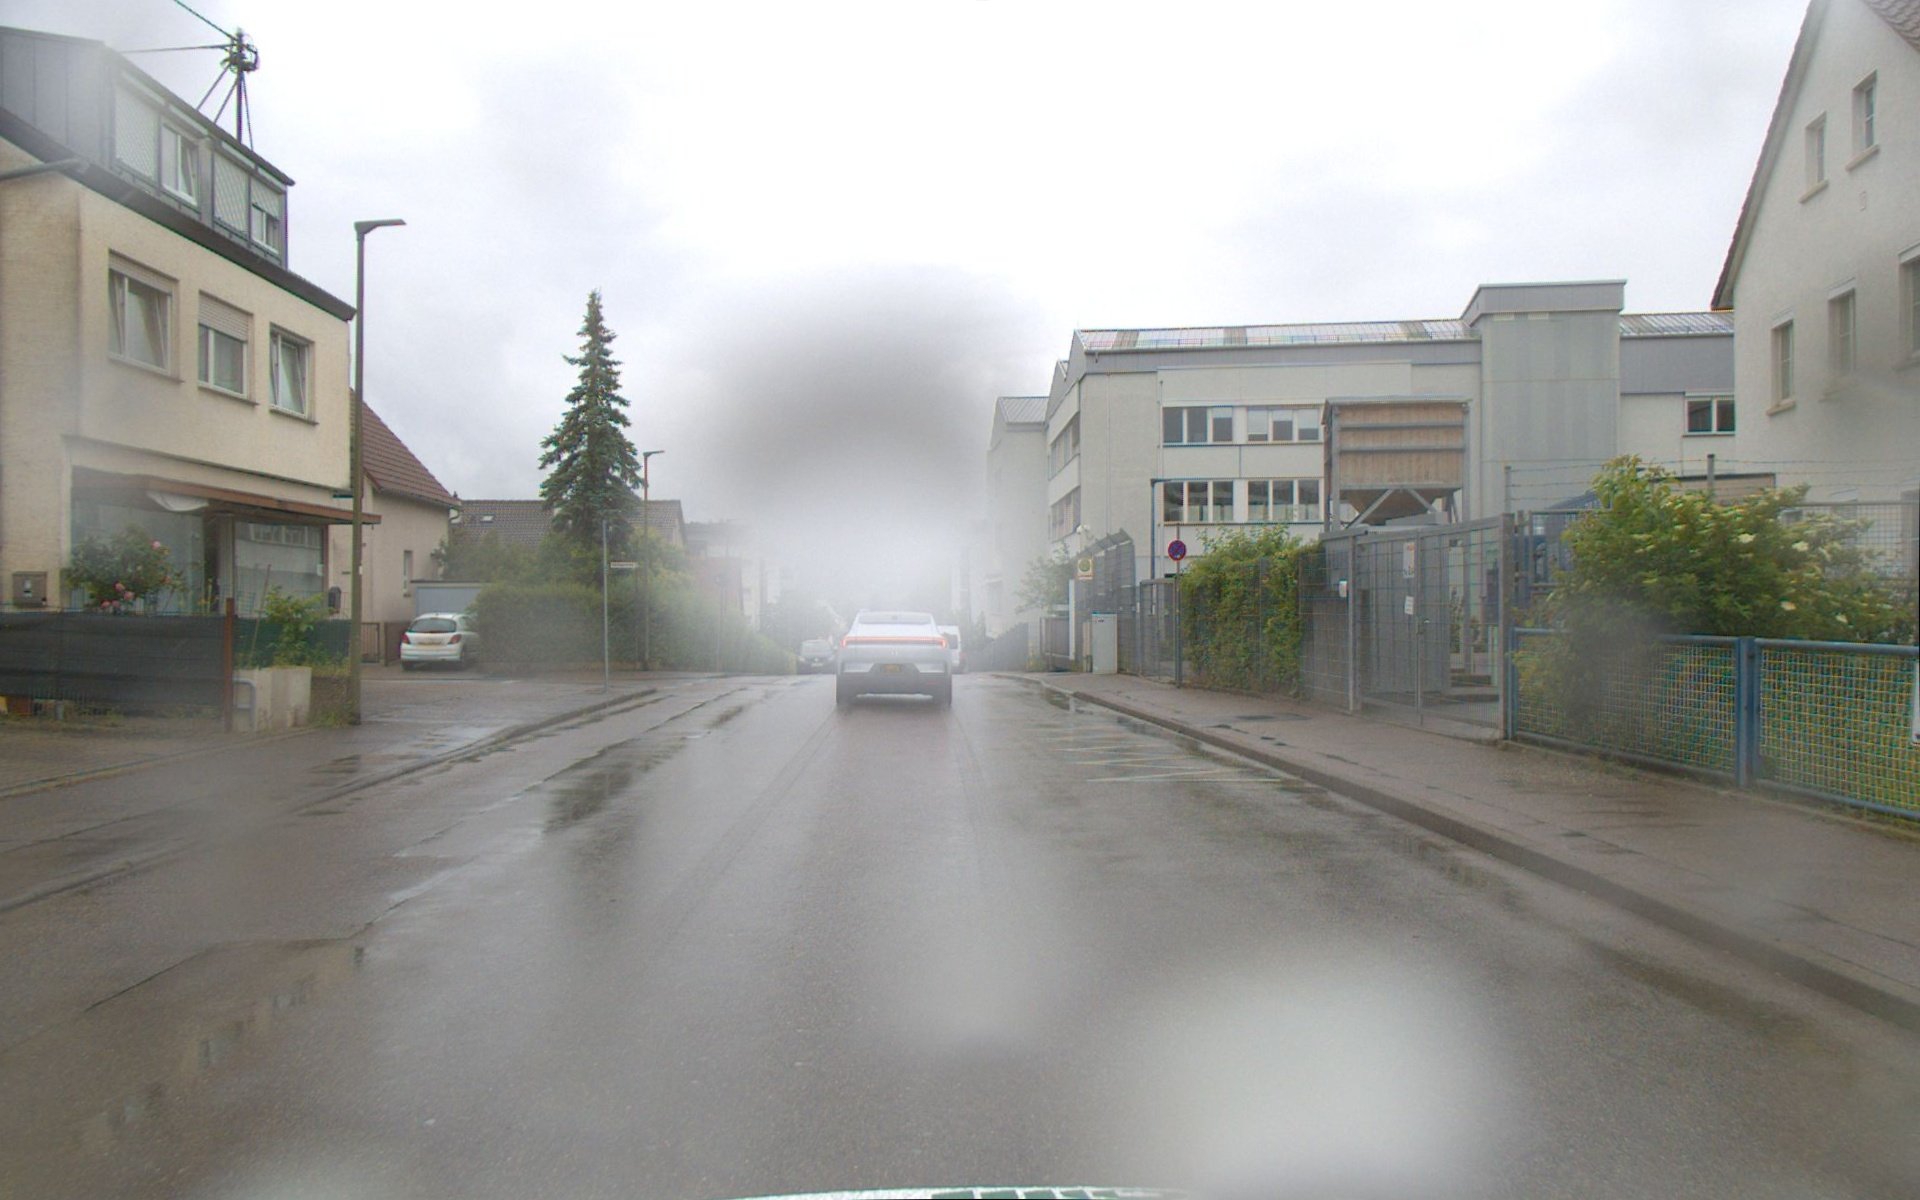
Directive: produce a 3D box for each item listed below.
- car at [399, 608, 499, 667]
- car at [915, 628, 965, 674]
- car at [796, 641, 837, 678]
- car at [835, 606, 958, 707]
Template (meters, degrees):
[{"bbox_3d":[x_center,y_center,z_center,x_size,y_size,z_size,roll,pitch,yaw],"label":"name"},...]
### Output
[{"bbox_3d":[-14.464,1.031,47.004,1.758,1.534,3.998,0,0,-3],"label":"car"},{"bbox_3d":[-0.969,2.398,77.338,1.955,2.049,3.994,-1,-3,-6],"label":"car"},{"bbox_3d":[-6.120,2.522,70.776,1.642,1.555,3.997,0,-1,-3],"label":"car"},{"bbox_3d":[-1.086,0.924,28.874,1.953,1.528,4.668,1,1,-2],"label":"car"}]
